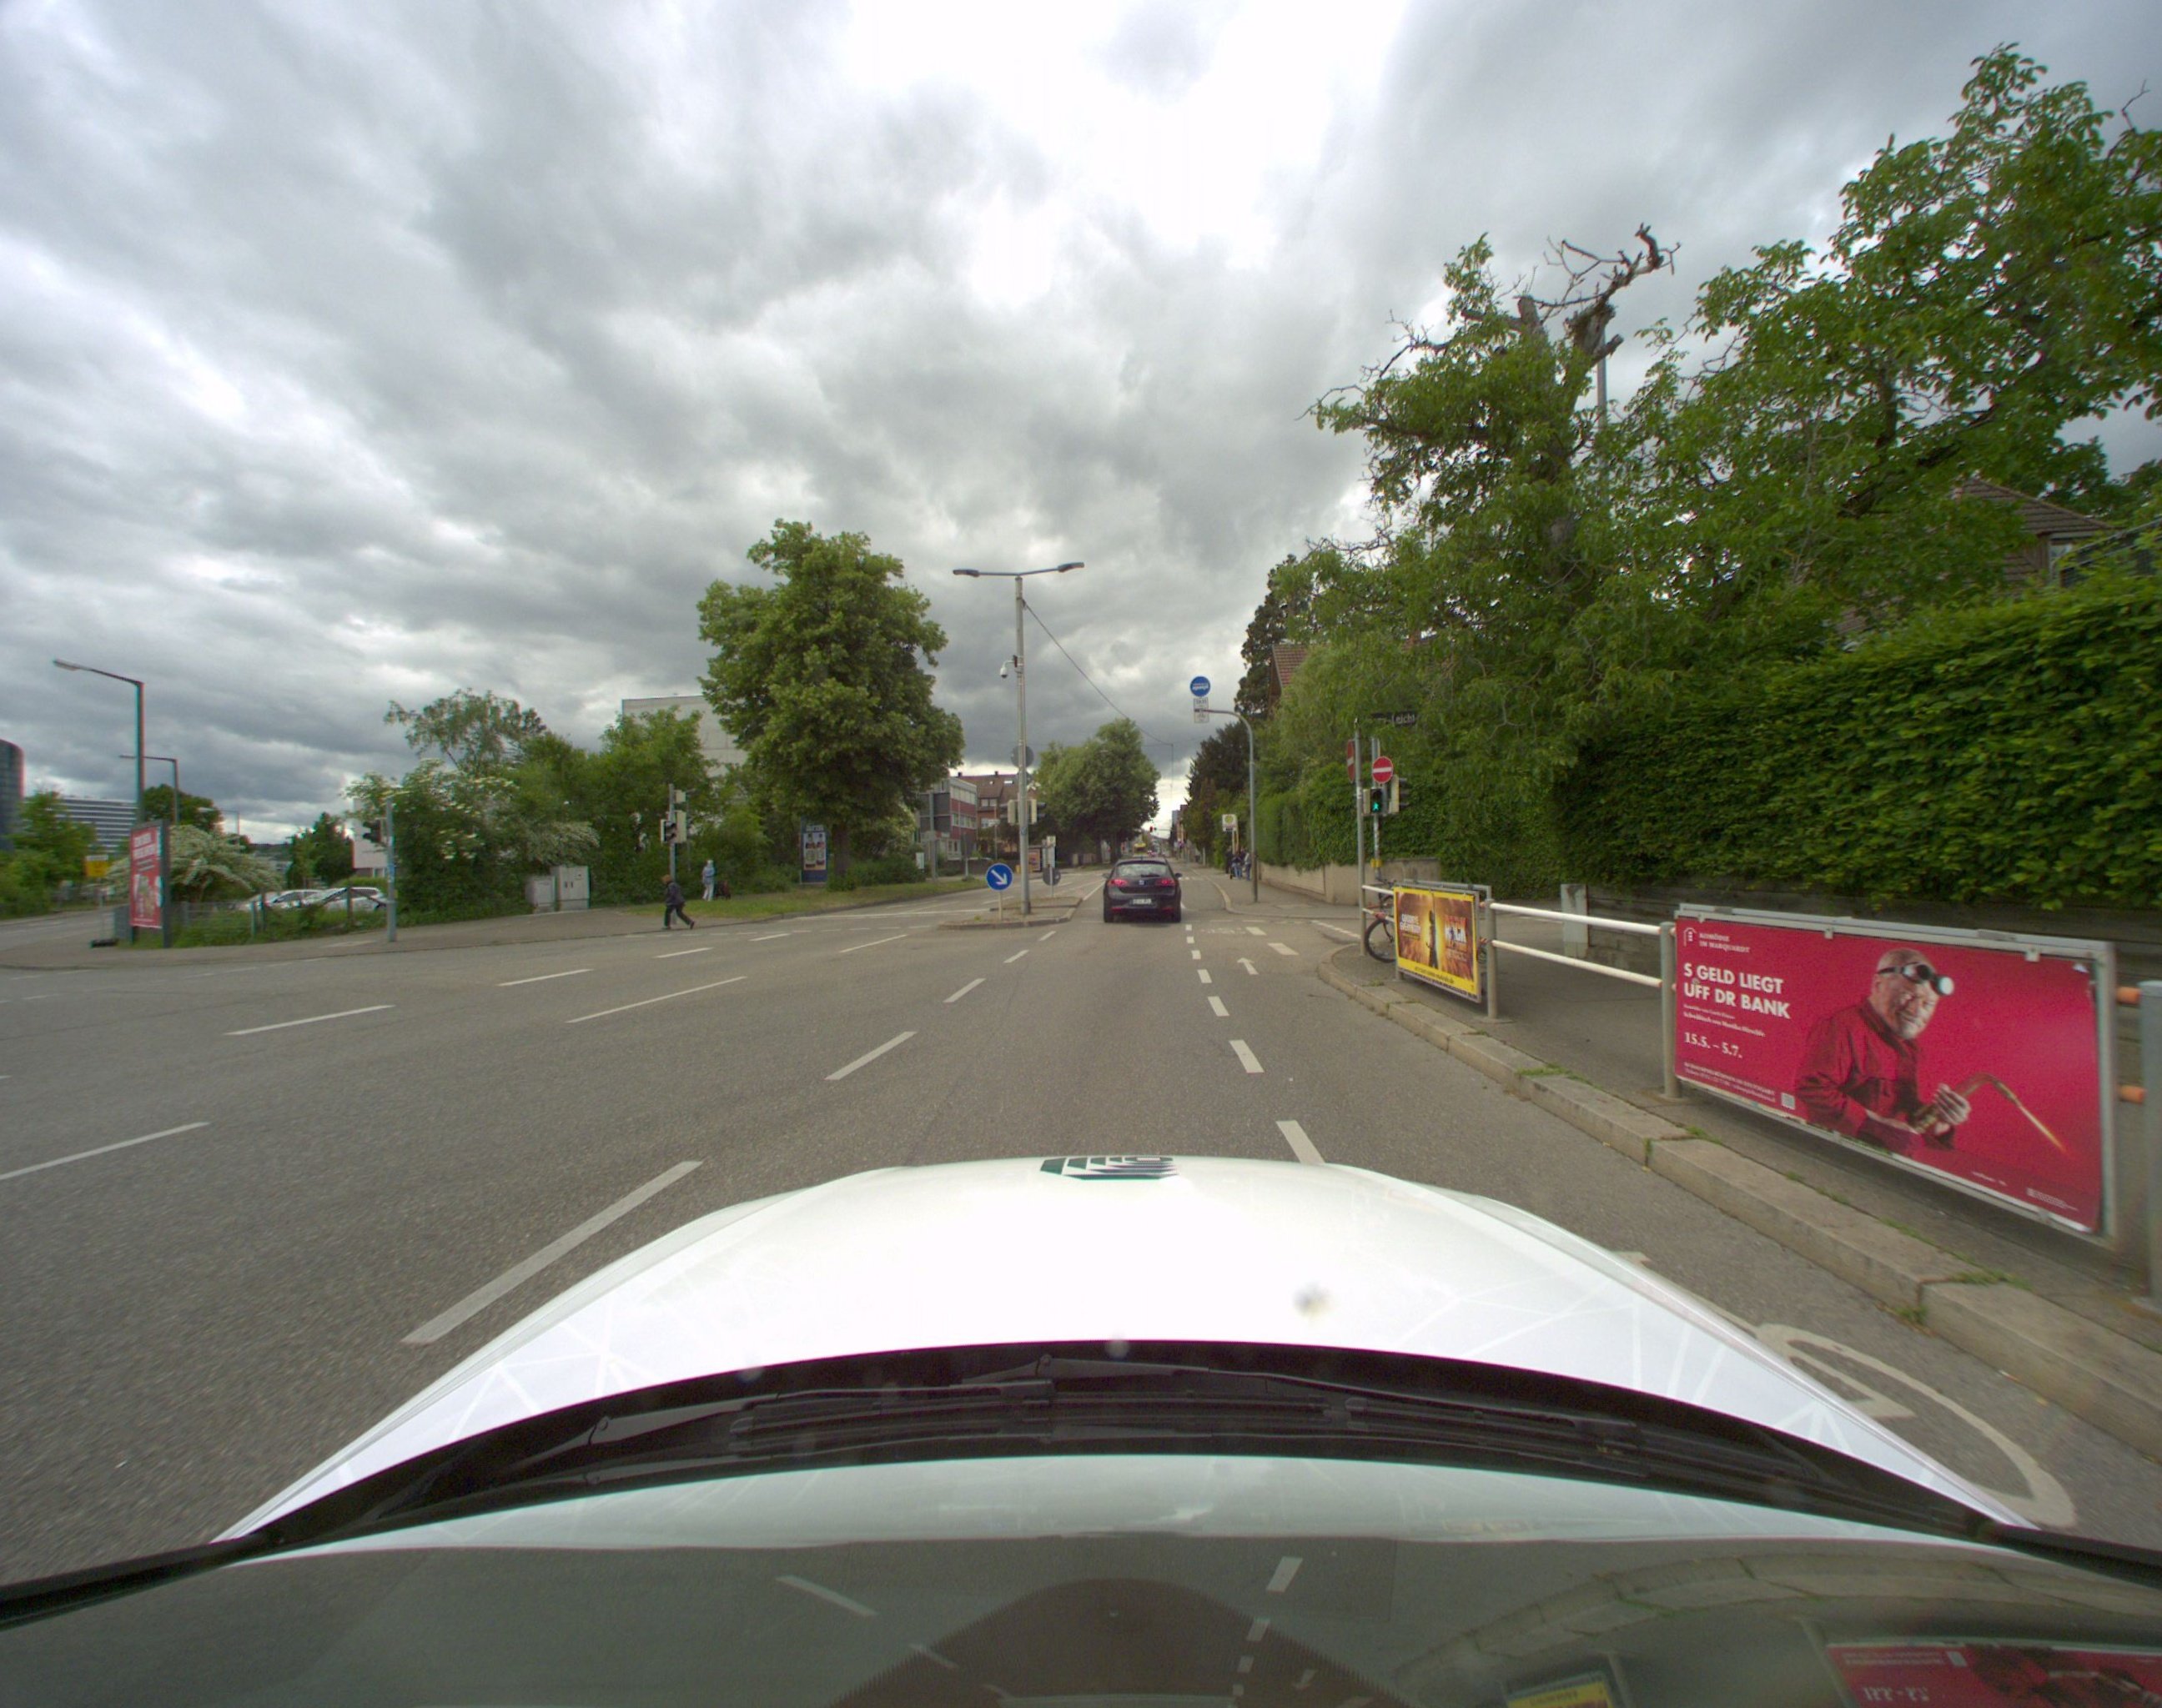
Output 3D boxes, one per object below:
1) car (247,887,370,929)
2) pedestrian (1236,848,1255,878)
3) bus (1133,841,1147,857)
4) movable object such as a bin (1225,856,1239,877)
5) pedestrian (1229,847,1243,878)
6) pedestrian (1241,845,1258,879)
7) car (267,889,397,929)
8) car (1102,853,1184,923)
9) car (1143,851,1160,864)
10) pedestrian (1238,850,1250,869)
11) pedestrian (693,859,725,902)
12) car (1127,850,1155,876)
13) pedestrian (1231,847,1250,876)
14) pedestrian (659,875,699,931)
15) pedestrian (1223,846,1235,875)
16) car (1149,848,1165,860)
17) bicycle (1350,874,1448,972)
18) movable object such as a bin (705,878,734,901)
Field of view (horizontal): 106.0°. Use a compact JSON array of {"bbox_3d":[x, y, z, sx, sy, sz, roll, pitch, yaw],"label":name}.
[{"bbox_3d":[-38.360,2.649,40.543,1.781,1.718,4.020,-2,0,20],"label":"car"},{"bbox_3d":[8.134,0.455,40.321,0.613,1.427,0.516,-5,0,43],"label":"pedestrian"},{"bbox_3d":[12.251,-0.984,169.011,2.855,3.136,6.406,-2,0,5],"label":"bus"},{"bbox_3d":[7.946,0.663,42.805,0.436,1.058,0.572,-5,0,31],"label":"movable object such as a bin"},{"bbox_3d":[7.971,0.439,41.944,0.546,1.517,0.363,-5,0,14],"label":"pedestrian"},{"bbox_3d":[8.039,0.378,38.870,0.542,1.555,0.470,-6,0,-4],"label":"pedestrian"},{"bbox_3d":[-34.679,2.506,37.842,1.781,1.554,4.020,-2,0,20],"label":"car"},{"bbox_3d":[1.395,0.724,19.239,1.753,1.448,3.716,0,0,2],"label":"car"},{"bbox_3d":[8.878,0.395,102.377,1.933,1.481,4.257,-3,0,3],"label":"car"},{"bbox_3d":[8.398,0.293,42.054,0.452,0.964,0.383,-6,0,-1],"label":"pedestrian"},{"bbox_3d":[-13.766,0.978,30.160,0.653,1.522,0.924,-2,0,3],"label":"pedestrian"},{"bbox_3d":[4.500,0.643,60.652,1.809,1.699,4.261,-3,0,6],"label":"car"},{"bbox_3d":[8.556,0.410,43.715,0.777,1.500,0.605,-4,0,0],"label":"pedestrian"},{"bbox_3d":[-10.436,1.267,21.136,0.773,1.407,0.599,0,1,-8],"label":"pedestrian"},{"bbox_3d":[9.087,0.393,50.035,0.583,1.711,0.530,-4,-1,4],"label":"pedestrian"},{"bbox_3d":[11.742,0.014,125.310,1.981,1.684,4.012,-2,0,11],"label":"car"},{"bbox_3d":[3.758,0.780,9.732,0.625,1.028,1.505,-2,0,3],"label":"bicycle"},{"bbox_3d":[-13.712,1.343,30.917,0.653,0.798,0.898,-2,0,3],"label":"movable object such as a bin"}]
